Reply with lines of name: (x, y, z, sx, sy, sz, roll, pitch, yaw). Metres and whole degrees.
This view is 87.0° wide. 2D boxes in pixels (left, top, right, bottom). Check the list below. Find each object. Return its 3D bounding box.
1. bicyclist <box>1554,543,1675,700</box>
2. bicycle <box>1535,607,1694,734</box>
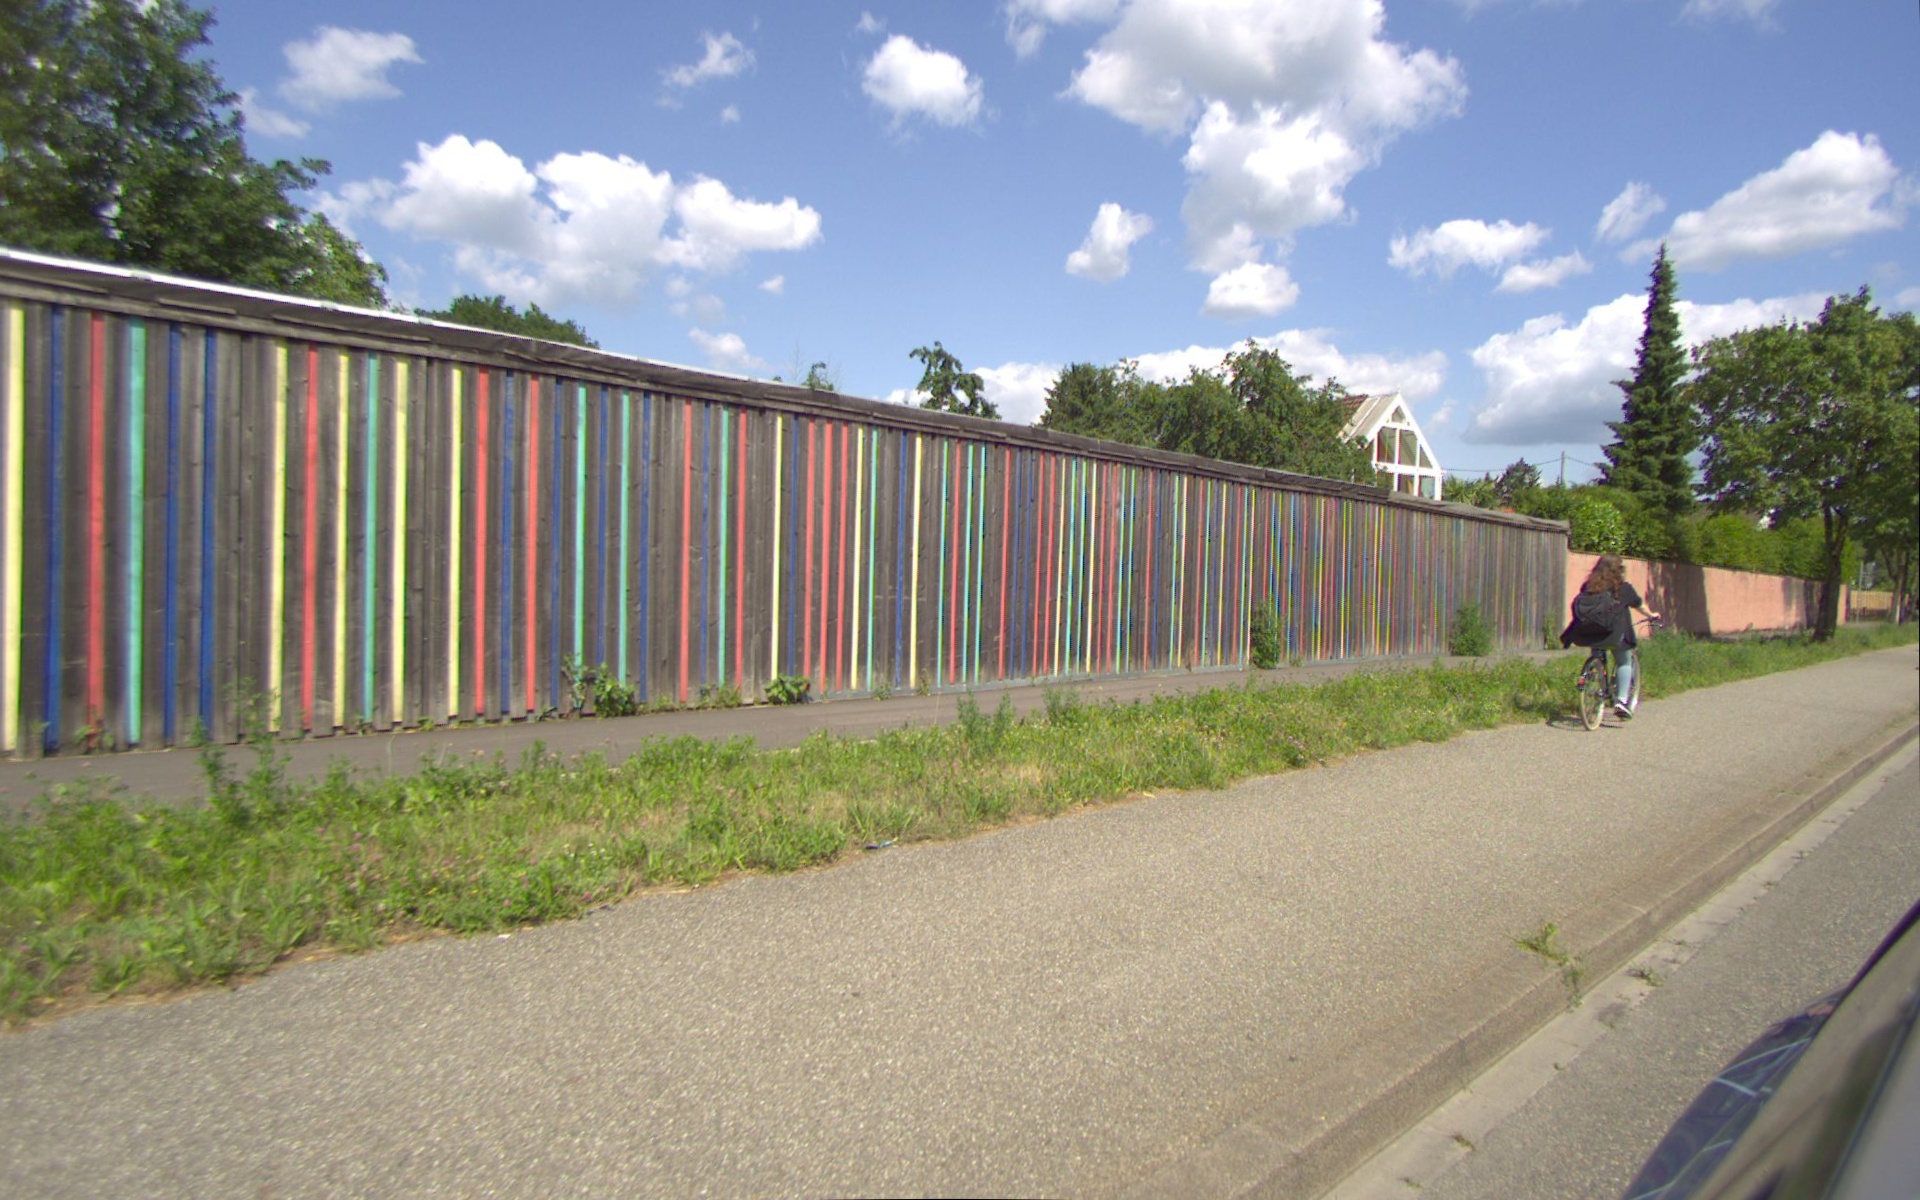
bicyclist: (6.405, 0.188, 9.897, 0.969, 1.429, 0.656, 0, 4, -40)
bicycle: (6.533, 0.639, 10.042, 2.238, 1.080, 0.647, 0, 4, -40)
